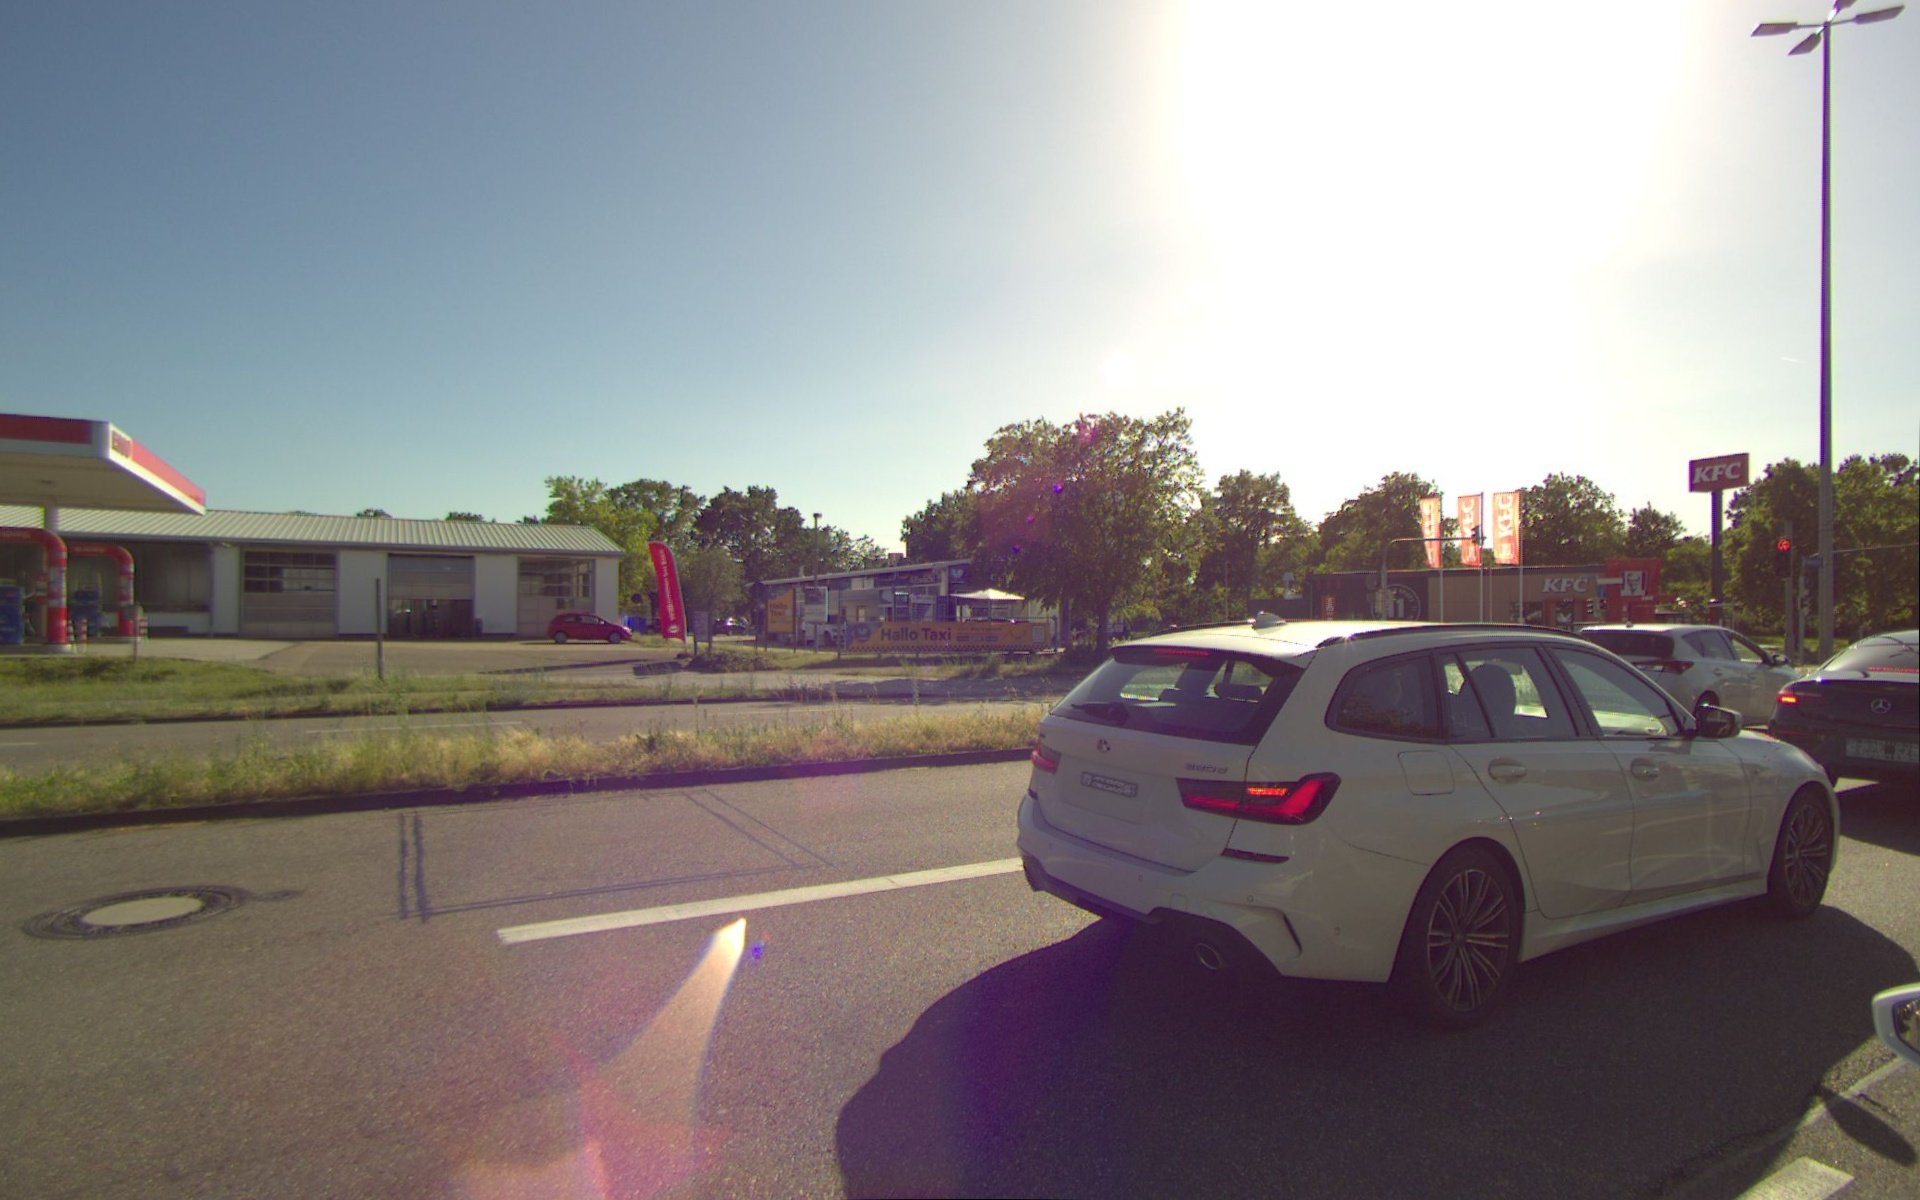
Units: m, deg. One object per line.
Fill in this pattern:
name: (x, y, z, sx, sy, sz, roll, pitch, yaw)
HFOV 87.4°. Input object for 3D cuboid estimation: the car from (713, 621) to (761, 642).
car: (-19.403, 2.731, 87.561, 3.929, 1.634, 1.996, 2, 0, -11)

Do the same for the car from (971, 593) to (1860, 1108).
car: (2.373, 0.797, 4.870, 4.353, 1.510, 1.776, 2, 0, -31)

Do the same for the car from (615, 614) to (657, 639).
car: (-19.293, 1.553, 59.707, 1.634, 1.383, 3.744, 2, 0, -29)

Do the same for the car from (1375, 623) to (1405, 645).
car: (31.287, 2.453, 73.217, 1.629, 1.491, 3.919, 2, 0, 18)

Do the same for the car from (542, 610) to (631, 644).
car: (-18.360, 1.340, 49.400, 3.946, 1.537, 1.772, 2, 0, -25)

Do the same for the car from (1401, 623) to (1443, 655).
car: (28.330, 2.349, 61.517, 1.964, 1.788, 4.349, 2, 0, 29)

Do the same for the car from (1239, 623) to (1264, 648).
car: (21.797, 2.630, 75.150, 1.629, 1.695, 3.945, 2, 0, 18)

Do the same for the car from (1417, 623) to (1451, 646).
car: (33.920, 2.463, 71.944, 1.629, 1.491, 3.919, 2, 0, 18)

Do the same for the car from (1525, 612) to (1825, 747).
car: (9.576, 0.981, 13.384, 4.150, 1.510, 1.750, 2, 0, -31)

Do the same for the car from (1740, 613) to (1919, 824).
car: (8.764, 0.931, 8.634, 4.425, 1.510, 1.787, 2, 0, -31)

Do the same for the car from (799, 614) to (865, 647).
car: (-6.810, 1.603, 53.160, 1.978, 1.584, 3.964, 2, 0, -32)

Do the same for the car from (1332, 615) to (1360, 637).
car: (28.276, 1.902, 73.652, 1.629, 1.491, 3.919, 2, 0, 18)

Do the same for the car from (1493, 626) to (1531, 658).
car: (33.076, 2.480, 60.199, 1.880, 1.776, 4.349, 2, 0, 29)
